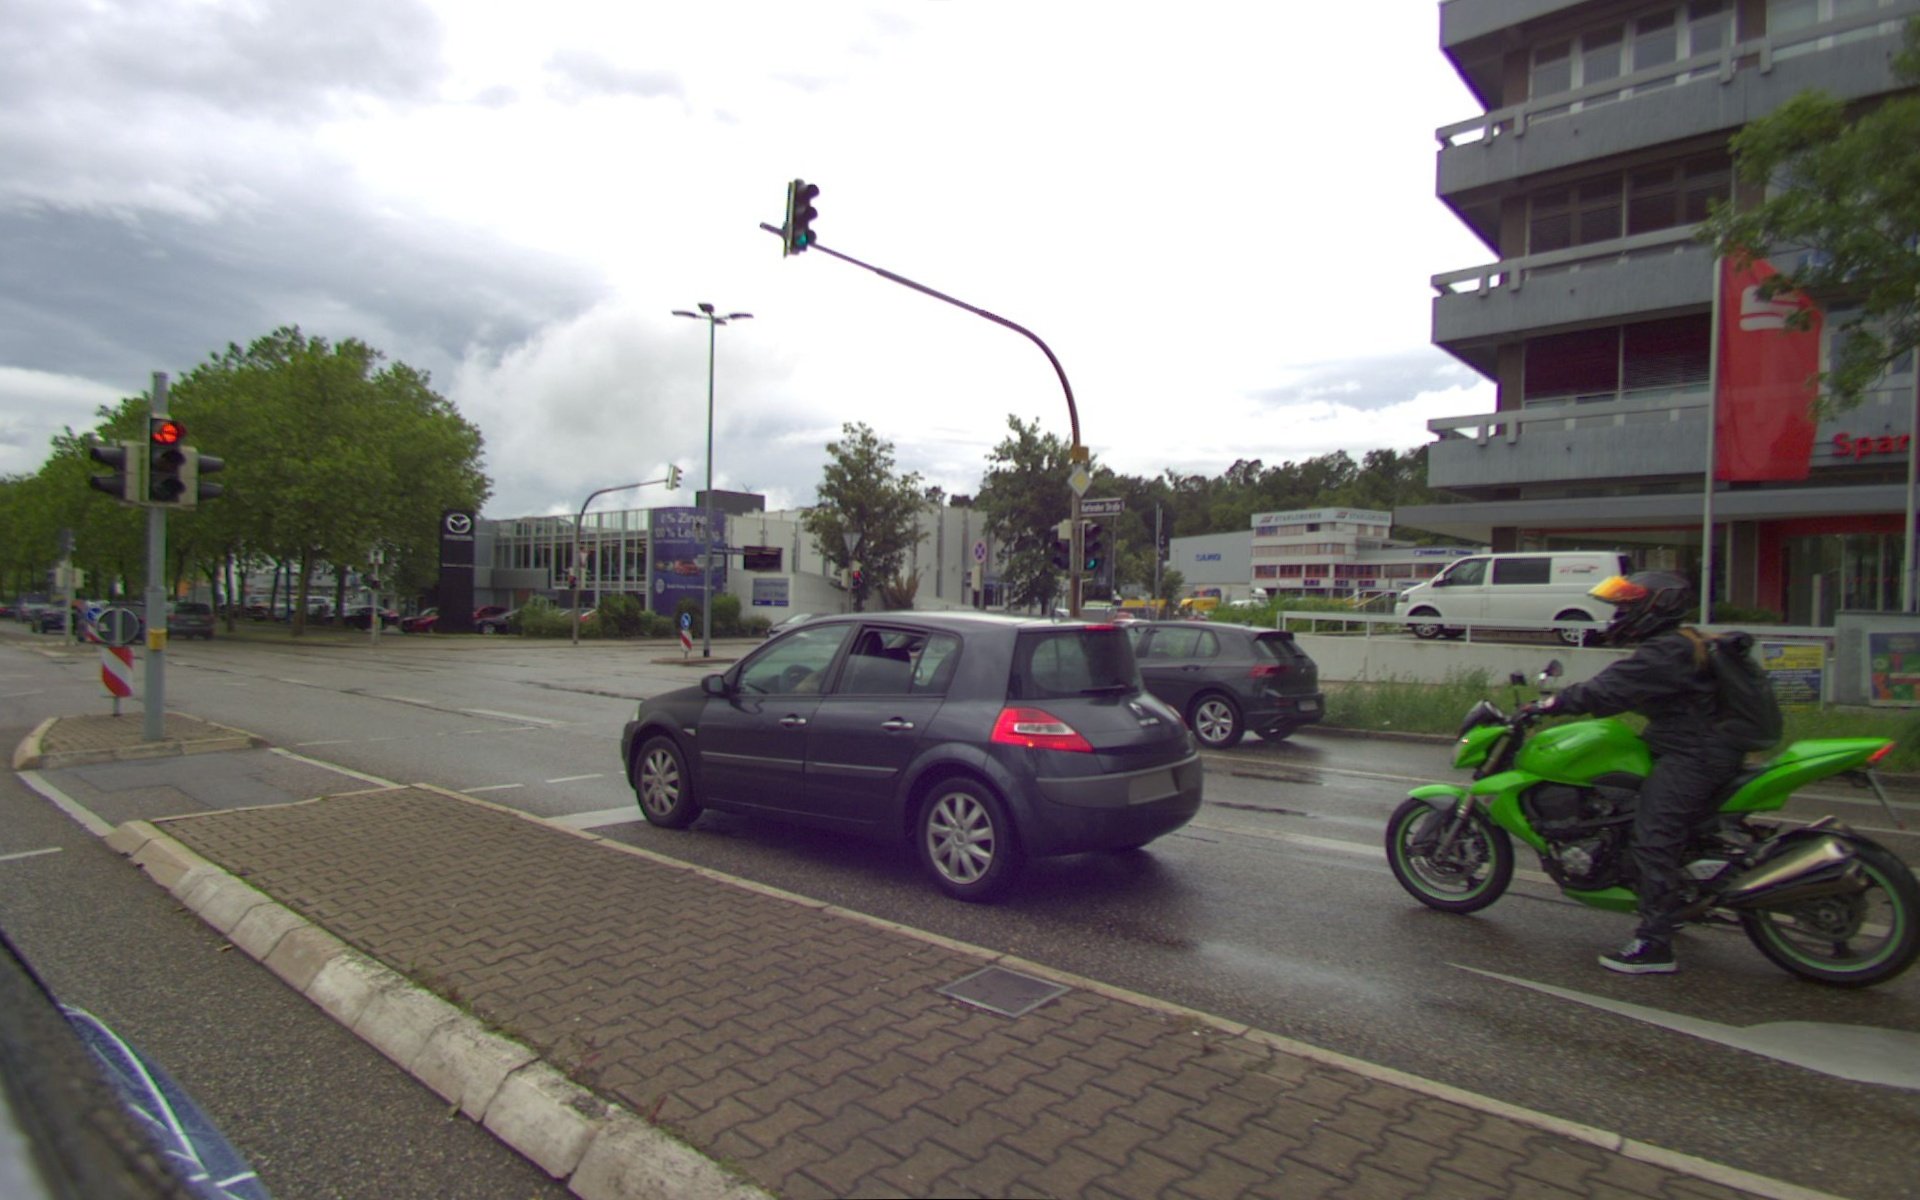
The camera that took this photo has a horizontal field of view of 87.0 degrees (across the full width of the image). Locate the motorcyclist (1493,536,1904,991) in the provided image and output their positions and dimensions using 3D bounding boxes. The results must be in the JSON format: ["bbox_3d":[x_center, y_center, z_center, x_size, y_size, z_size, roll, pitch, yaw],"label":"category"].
[{"bbox_3d":[3.019,0.572,4.219,1.266,1.571,0.798,-1,-1,40],"label":"motorcyclist"}]

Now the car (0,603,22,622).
[{"bbox_3d":[-73.136,0.957,77.233,4.170,1.393,1.693,0,-3,40],"label":"car"}]

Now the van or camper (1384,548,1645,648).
[{"bbox_3d":[12.174,-0.096,22.424,4.787,1.981,1.973,1,2,41],"label":"van or camper"}]

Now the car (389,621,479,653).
[{"bbox_3d":[-30.509,2.100,58.880,1.984,1.608,4.540,0,1,19],"label":"car"}]

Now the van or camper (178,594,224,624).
[{"bbox_3d":[-64.950,0.729,86.542,6.400,2.489,1.972,0,1,42],"label":"van or camper"}]

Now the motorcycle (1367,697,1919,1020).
[{"bbox_3d":[3.015,0.968,4.223,2.321,0.983,0.798,-1,-3,40],"label":"motorcycle"}]

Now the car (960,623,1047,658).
[{"bbox_3d":[1.922,1.696,43.598,1.878,1.410,3.648,0,-1,42],"label":"car"}]

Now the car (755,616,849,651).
[{"bbox_3d":[-7.048,1.467,45.525,1.817,1.500,3.937,0,-1,41],"label":"car"}]

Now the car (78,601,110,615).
[{"bbox_3d":[-99.172,0.894,115.869,5.244,1.507,2.096,0,-1,41],"label":"car"}]

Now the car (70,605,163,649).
[{"bbox_3d":[-32.691,1.012,39.189,4.358,1.620,1.892,0,-1,39],"label":"car"}]

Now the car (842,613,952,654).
[{"bbox_3d":[-2.421,1.264,39.408,1.880,1.500,4.101,0,-1,44],"label":"car"}]

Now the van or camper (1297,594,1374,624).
[{"bbox_3d":[31.196,0.750,84.232,5.720,2.374,1.913,-1,-1,41],"label":"van or camper"}]

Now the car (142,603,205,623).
[{"bbox_3d":[-84.329,1.394,108.606,2.128,2.029,4.994,0,-1,40],"label":"car"}]

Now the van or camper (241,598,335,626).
[{"bbox_3d":[-47.670,0.869,71.952,2.089,1.783,5.342,4,0,19],"label":"van or camper"}]

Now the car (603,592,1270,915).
[{"bbox_3d":[-0.332,0.674,6.256,3.995,1.387,1.666,0,-1,38],"label":"car"}]

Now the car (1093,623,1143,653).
[{"bbox_3d":[7.736,1.823,49.341,1.495,1.410,3.358,0,-1,26],"label":"car"}]

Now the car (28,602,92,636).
[{"bbox_3d":[-44.819,0.937,50.383,3.995,1.592,1.694,0,-2,38],"label":"car"}]

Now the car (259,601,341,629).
[{"bbox_3d":[-45.283,1.044,69.560,1.984,1.829,4.440,0,-1,19],"label":"car"}]

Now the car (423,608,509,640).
[{"bbox_3d":[-27.770,1.375,57.015,1.996,1.665,4.206,1,-1,18],"label":"car"}]
